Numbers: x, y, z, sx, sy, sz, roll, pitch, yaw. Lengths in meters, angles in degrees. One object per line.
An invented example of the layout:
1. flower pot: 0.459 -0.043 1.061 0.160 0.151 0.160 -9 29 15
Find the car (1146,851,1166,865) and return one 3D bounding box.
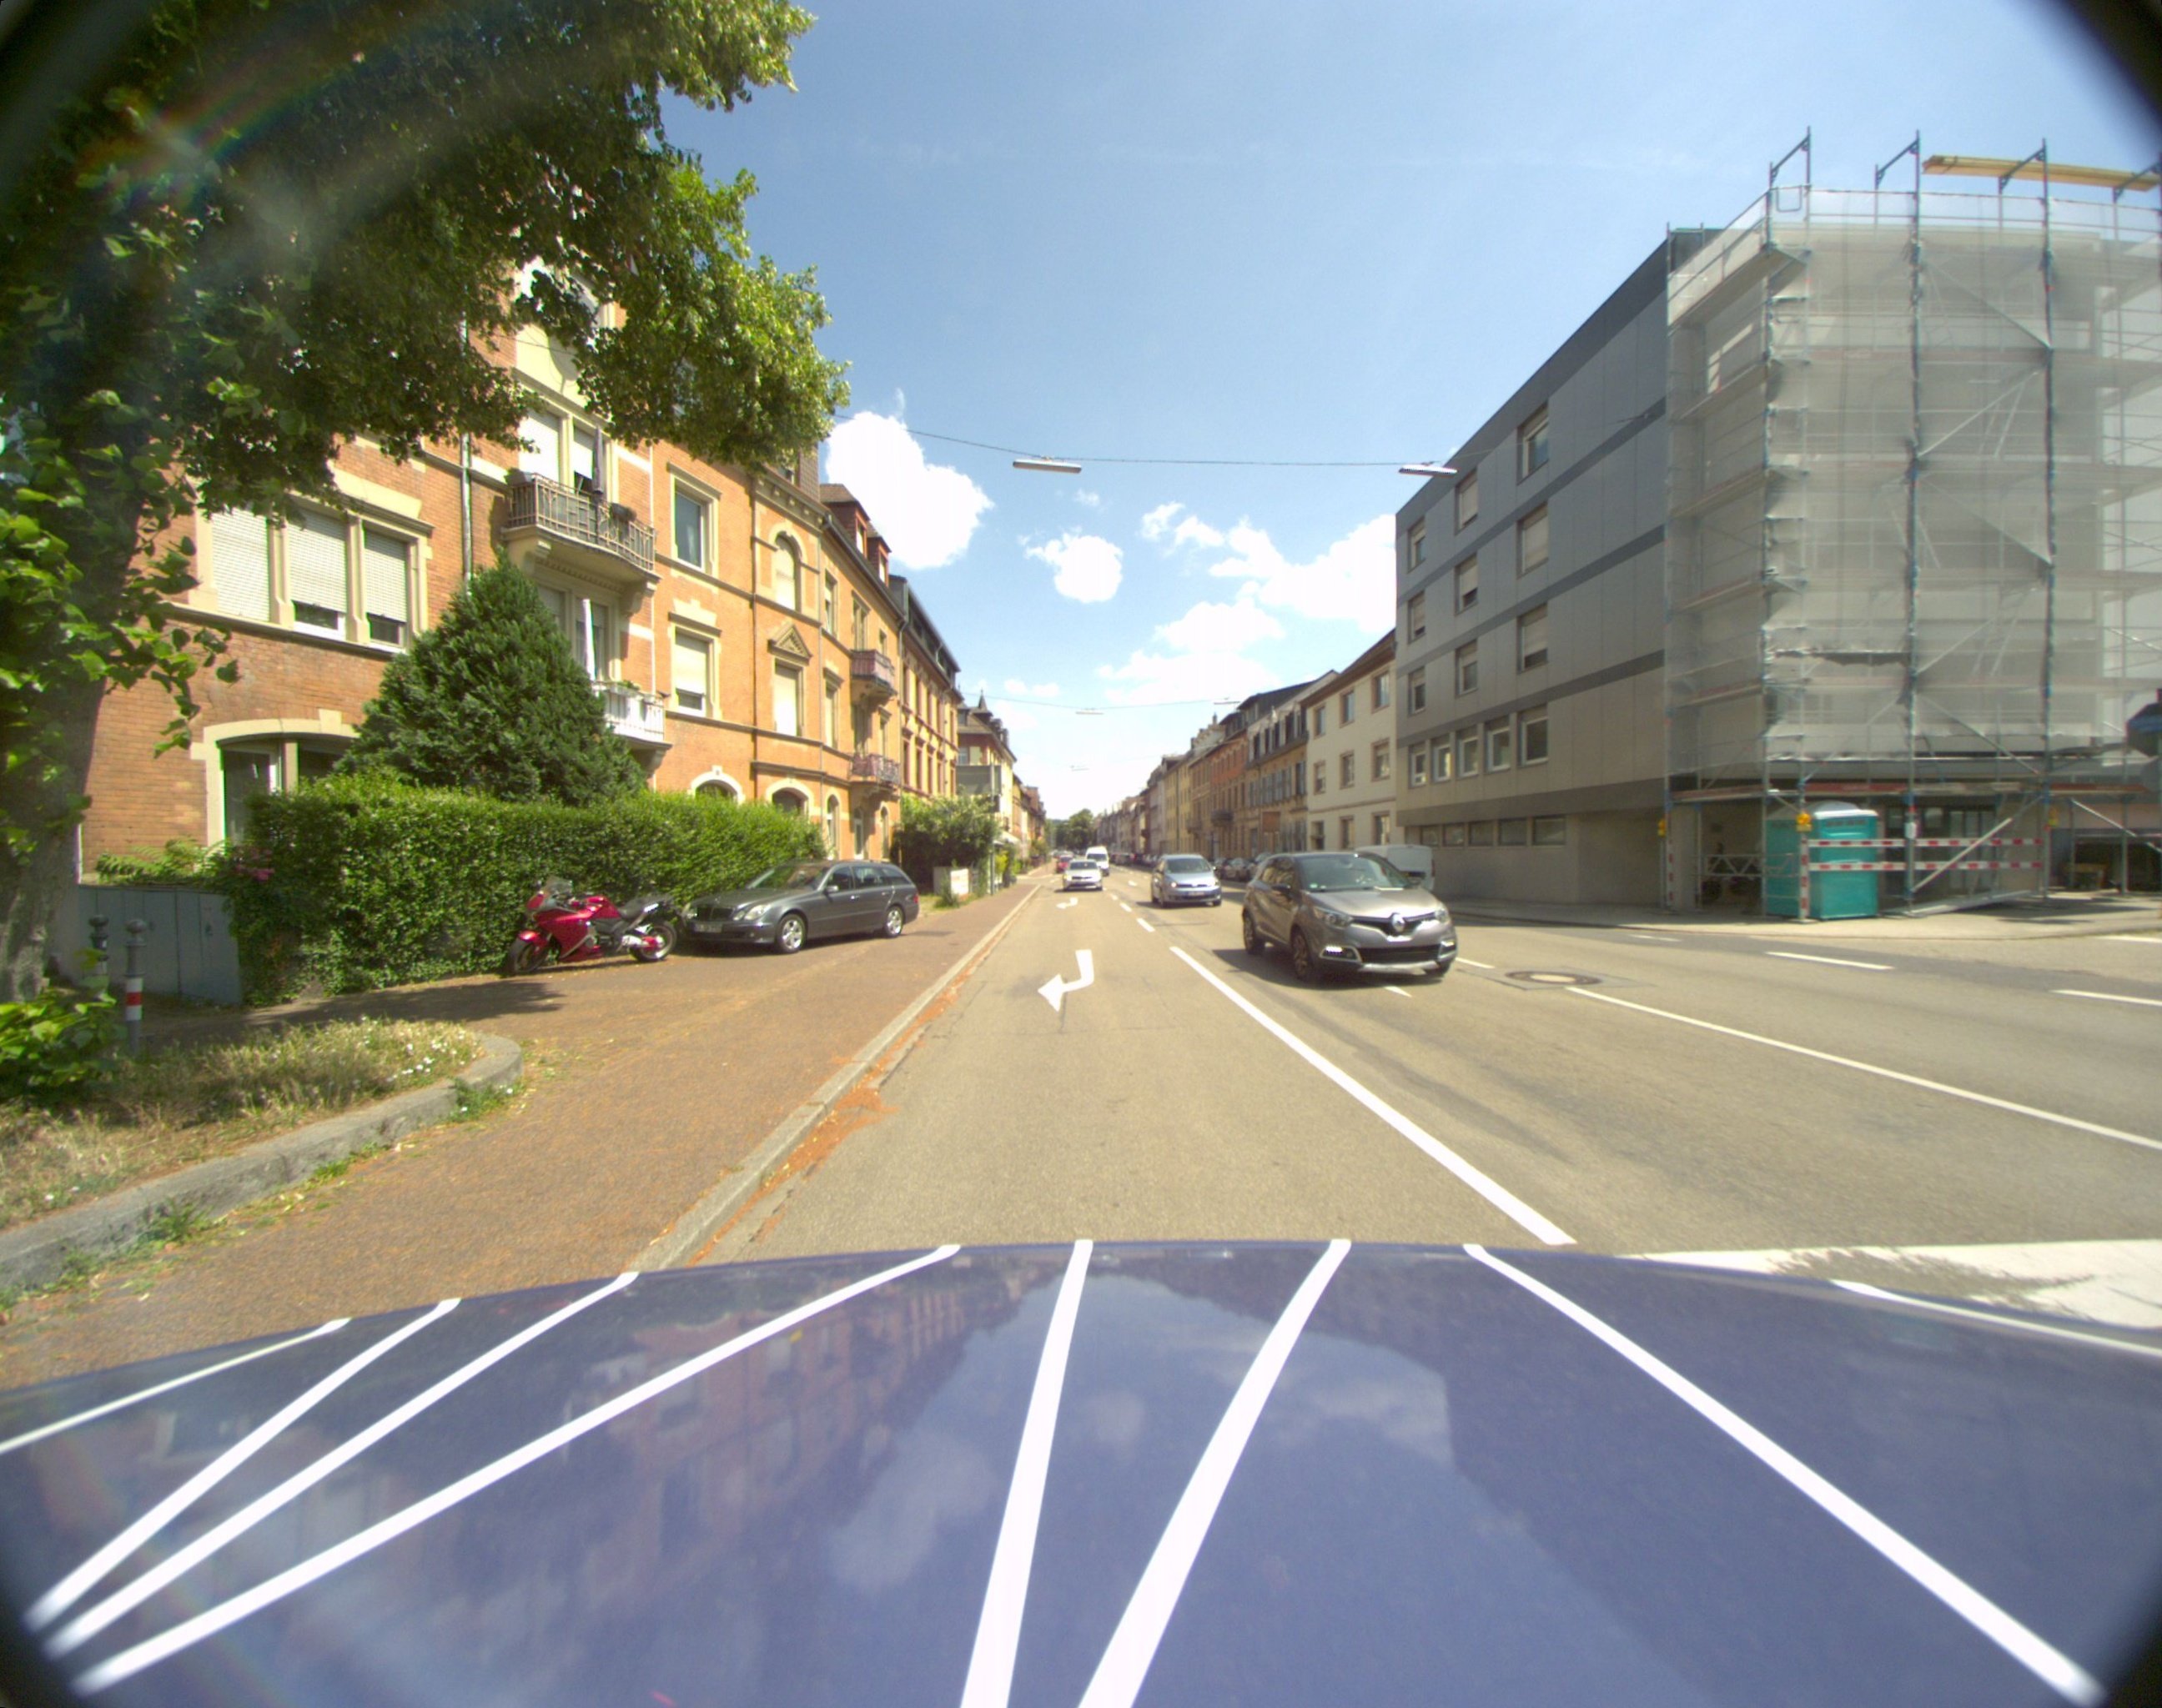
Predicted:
1. car: 9.010 0.485 91.429 1.870 1.542 4.312 3 1 -1

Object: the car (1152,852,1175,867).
1. car: 9.170 0.597 84.807 1.910 1.443 4.685 3 1 -1

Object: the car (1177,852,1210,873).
1. car: 9.481 0.702 64.303 1.870 1.618 4.499 3 1 -2

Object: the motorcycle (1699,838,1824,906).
1. motorcycle: 15.481 0.401 17.372 2.037 1.463 0.884 -1 1 37

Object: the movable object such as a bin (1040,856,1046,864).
1. movable object such as a bin: -4.378 0.668 86.973 0.626 0.923 0.612 0 1 -2

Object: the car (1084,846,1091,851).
1. car: 1.744 -1.570 214.857 1.709 1.470 3.930 -3 1 -1

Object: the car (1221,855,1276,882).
1. car: 9.858 0.834 45.180 1.870 1.398 4.835 3 1 -4

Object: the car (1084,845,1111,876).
1. car: 1.297 0.462 58.370 1.904 2.261 5.672 -1 1 2

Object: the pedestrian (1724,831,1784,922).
1. pedestrian: 13.945 0.451 15.744 0.791 1.822 0.706 -2 1 -30

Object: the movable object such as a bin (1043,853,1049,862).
1. movable object such as a bin: -4.514 0.427 98.559 0.753 1.235 0.877 0 1 -2

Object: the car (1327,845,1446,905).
1. car: 10.188 0.625 25.812 1.919 1.815 4.787 1 1 -2

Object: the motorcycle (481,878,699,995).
1. motorcycle: -6.276 0.982 9.915 0.931 1.295 2.284 0 -1 21

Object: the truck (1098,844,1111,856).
1. truck: 5.441 -0.994 176.631 2.324 2.725 8.066 0 1 -2

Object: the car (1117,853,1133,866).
1. car: 5.370 0.606 93.568 1.706 1.565 4.311 0 0 0

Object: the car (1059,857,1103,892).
1. car: 0.048 0.918 35.815 1.904 1.489 4.487 -1 1 1

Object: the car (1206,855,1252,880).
1. car: 9.788 0.861 50.577 1.870 1.398 4.328 3 1 -4

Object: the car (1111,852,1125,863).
1. car: 5.056 0.498 105.354 1.706 1.469 4.133 0 0 0

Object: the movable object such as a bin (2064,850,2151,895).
1. movable object such as a bin: 22.074 0.387 16.353 0.740 0.921 0.826 -2 0 0

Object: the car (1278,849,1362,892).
1. car: 9.931 0.629 31.930 1.890 1.631 4.661 1 1 -2

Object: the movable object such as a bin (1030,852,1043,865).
1. movable object such as a bin: -4.750 0.482 81.295 1.285 1.388 1.412 0 1 0

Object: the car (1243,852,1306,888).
1. car: 9.677 0.752 38.348 1.889 1.631 4.817 1 1 0

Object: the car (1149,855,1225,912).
1. car: 3.196 0.854 23.591 1.759 1.559 3.999 -1 0 0

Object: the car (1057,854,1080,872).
1. car: -1.157 0.748 68.401 1.762 1.470 3.782 -3 1 -4

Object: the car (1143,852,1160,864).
1. car: 8.885 0.485 96.429 1.749 1.403 3.914 3 1 0

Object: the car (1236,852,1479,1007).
1. car: 3.385 0.809 10.170 1.758 1.622 4.000 -2 0 0

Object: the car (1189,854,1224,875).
1. car: 9.704 0.791 59.000 1.870 1.418 4.330 3 1 -1

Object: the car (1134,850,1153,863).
1. car: 8.444 0.310 102.682 1.746 1.579 3.957 3 1 15

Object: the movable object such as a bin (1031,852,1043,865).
1. movable object such as a bin: -4.779 0.445 82.711 1.285 1.388 1.364 0 1 0

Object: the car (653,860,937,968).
1. car: -4.705 0.894 13.565 1.836 1.539 5.164 0 -1 19

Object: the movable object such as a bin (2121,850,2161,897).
1. movable object such as a bin: 21.968 0.388 15.358 0.740 0.921 0.826 -2 0 0
